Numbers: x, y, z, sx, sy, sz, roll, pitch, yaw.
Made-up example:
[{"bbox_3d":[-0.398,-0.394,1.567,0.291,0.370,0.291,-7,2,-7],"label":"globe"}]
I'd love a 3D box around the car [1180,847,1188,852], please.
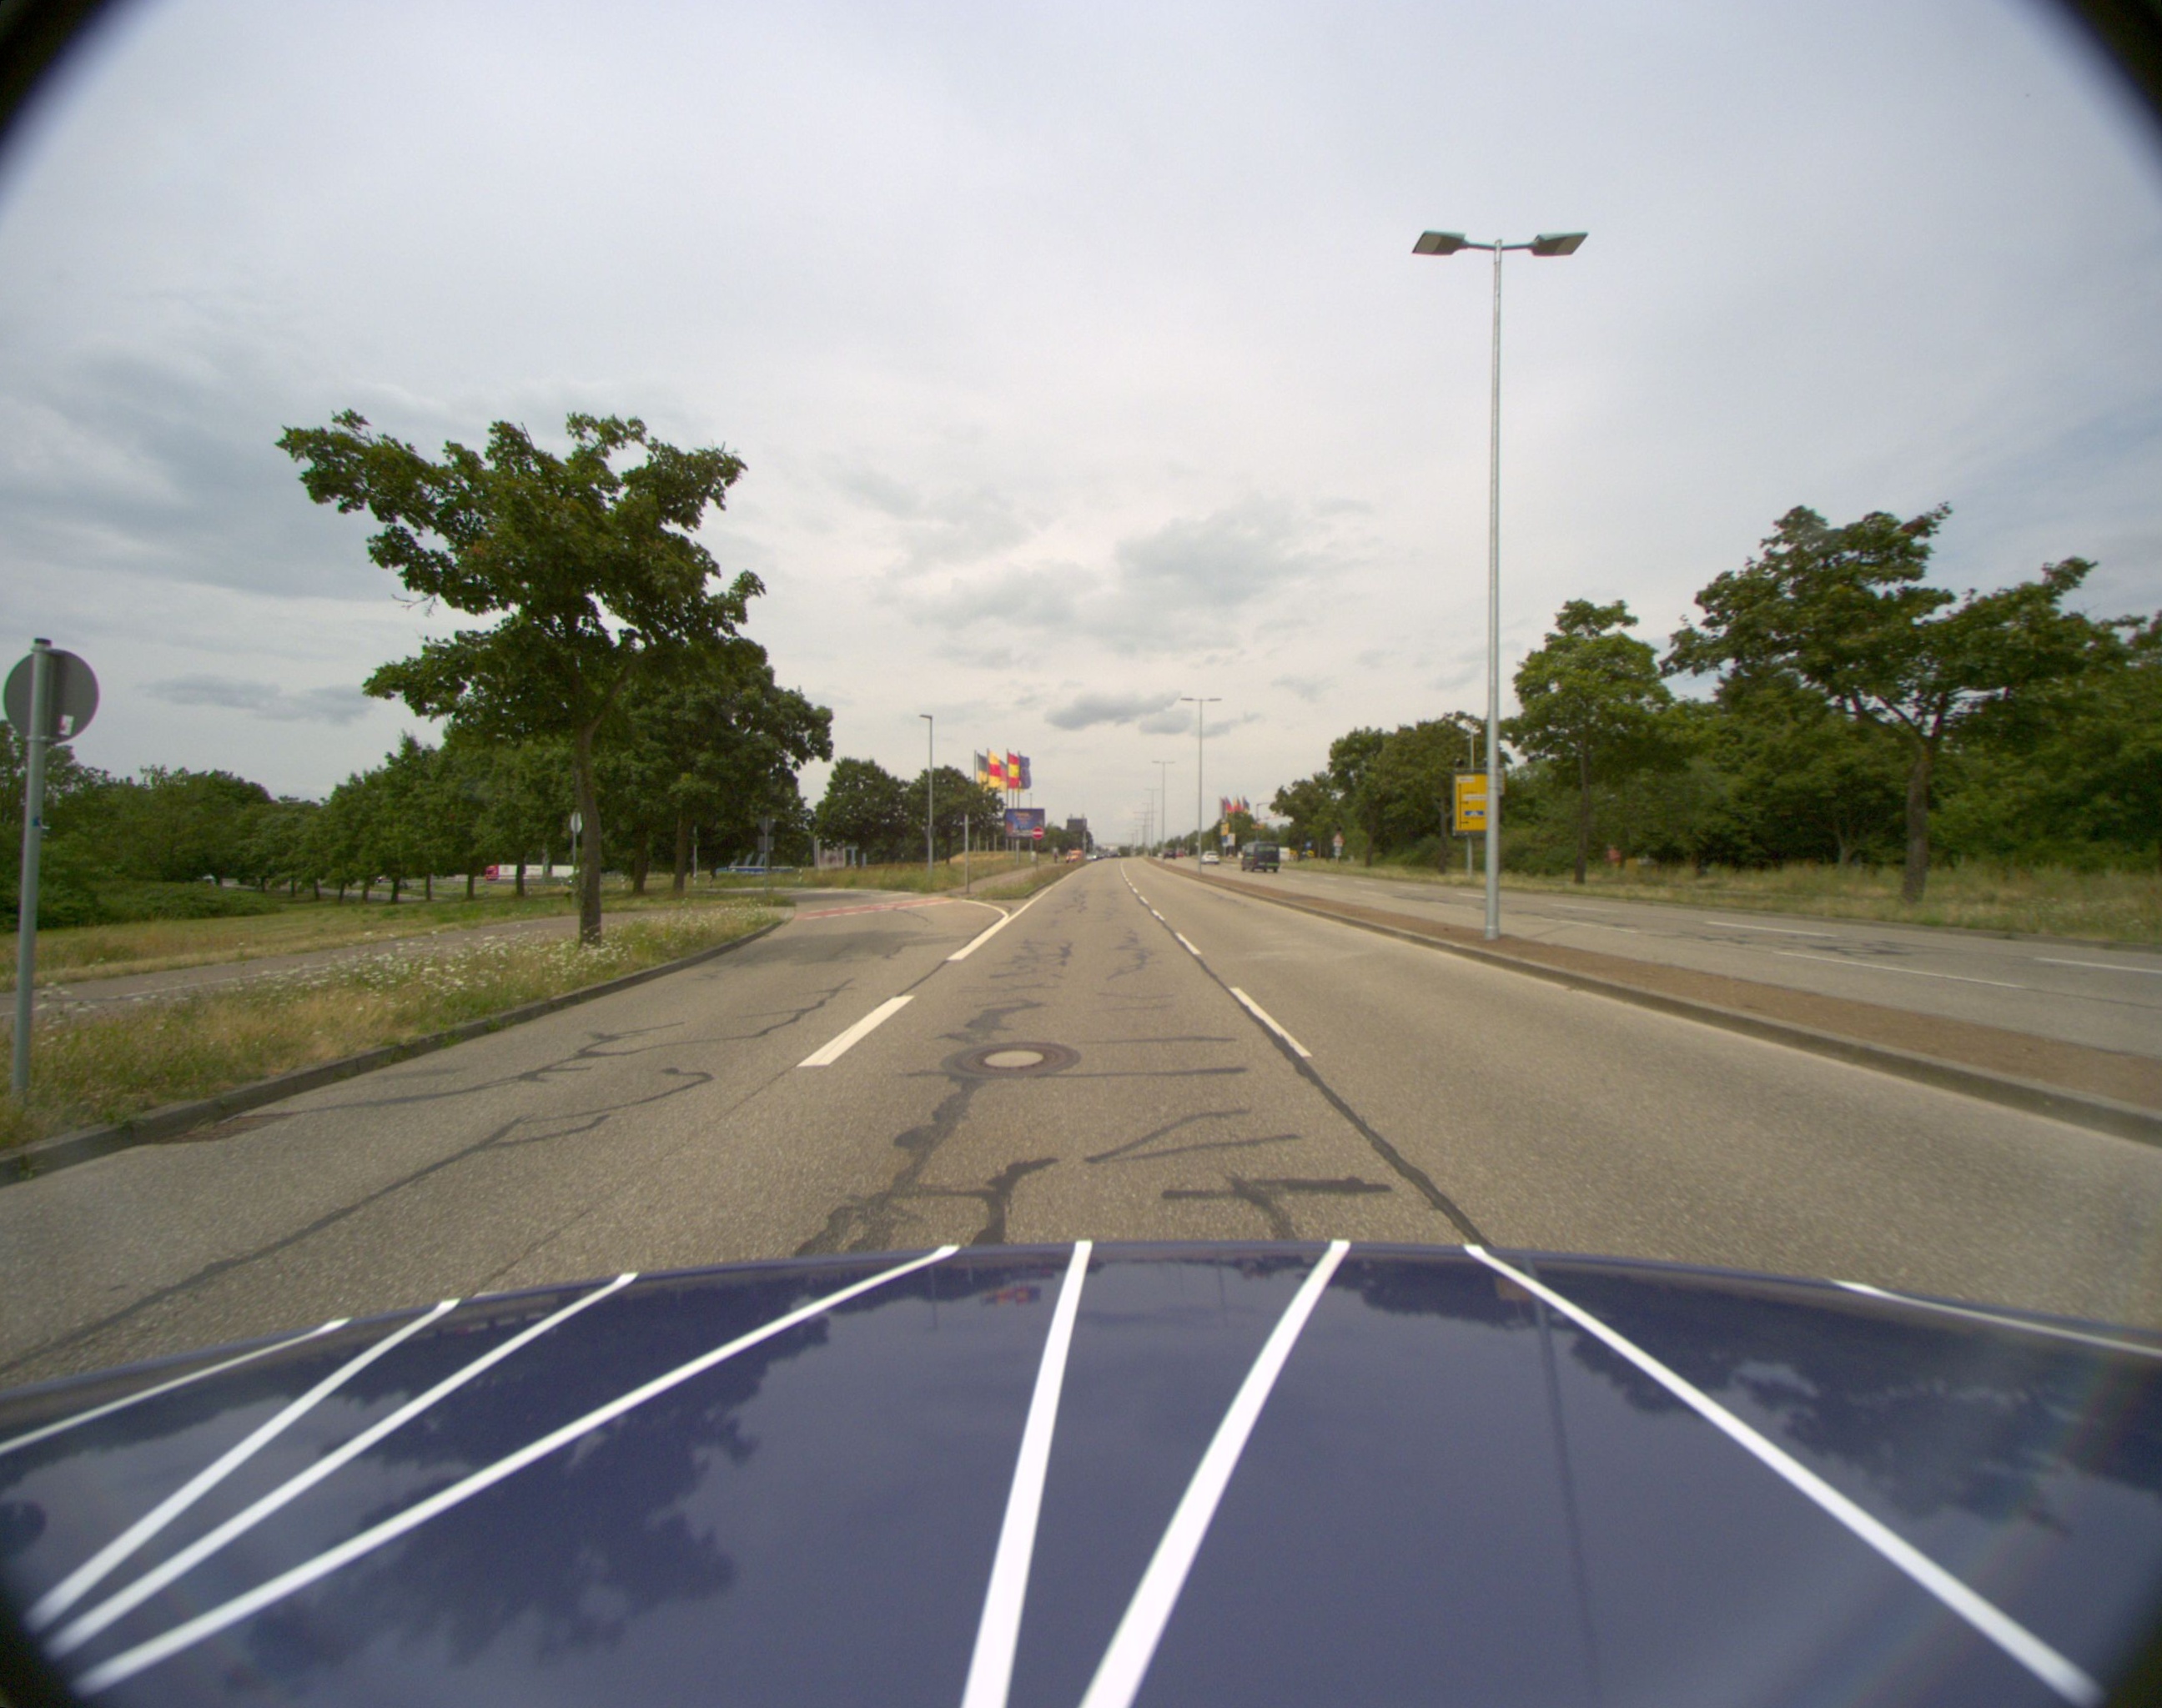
[{"bbox_3d":[27.028,-1.210,199.653,1.758,1.314,4.348,-1,-1,5],"label":"car"}]

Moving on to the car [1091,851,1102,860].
[{"bbox_3d":[2.387,0.210,120.795,1.695,1.403,3.684,-2,-1,1],"label":"car"}]

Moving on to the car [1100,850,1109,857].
[{"bbox_3d":[4.463,-0.129,142.729,1.558,1.229,3.470,-2,-1,2],"label":"car"}]

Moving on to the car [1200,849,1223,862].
[{"bbox_3d":[14.849,0.130,86.601,1.998,1.422,4.689,0,0,3],"label":"car"}]

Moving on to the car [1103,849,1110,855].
[{"bbox_3d":[5.979,-0.534,176.415,1.558,1.229,3.470,-2,-1,2],"label":"car"}]

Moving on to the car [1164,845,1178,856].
[{"bbox_3d":[15.295,-0.578,129.606,1.998,1.800,4.798,0,-1,1],"label":"car"}]

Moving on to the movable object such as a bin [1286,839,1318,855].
[{"bbox_3d":[35.389,-1.096,121.683,4.592,2.383,1.999,-1,0,-7],"label":"movable object such as a bin"}]

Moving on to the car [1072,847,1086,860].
[{"bbox_3d":[-0.234,-0.111,112.003,1.892,1.824,4.431,-2,-1,2],"label":"car"}]

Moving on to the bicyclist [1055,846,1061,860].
[{"bbox_3d":[-3.083,-0.150,100.152,0.705,1.745,0.991,0,0,2],"label":"bicyclist"}]

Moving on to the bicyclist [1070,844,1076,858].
[{"bbox_3d":[-0.995,-0.399,92.725,0.623,1.656,0.669,2,0,1],"label":"bicyclist"}]

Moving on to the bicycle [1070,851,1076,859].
[{"bbox_3d":[-0.998,0.127,92.866,0.625,0.883,2.154,-1,1,2],"label":"bicycle"}]

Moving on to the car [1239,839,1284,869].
[{"bbox_3d":[13.830,0.014,58.622,2.100,2.188,6.004,1,0,0],"label":"car"}]

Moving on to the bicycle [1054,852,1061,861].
[{"bbox_3d":[-3.074,0.325,100.235,0.695,1.185,2.461,0,0,2],"label":"bicycle"}]
